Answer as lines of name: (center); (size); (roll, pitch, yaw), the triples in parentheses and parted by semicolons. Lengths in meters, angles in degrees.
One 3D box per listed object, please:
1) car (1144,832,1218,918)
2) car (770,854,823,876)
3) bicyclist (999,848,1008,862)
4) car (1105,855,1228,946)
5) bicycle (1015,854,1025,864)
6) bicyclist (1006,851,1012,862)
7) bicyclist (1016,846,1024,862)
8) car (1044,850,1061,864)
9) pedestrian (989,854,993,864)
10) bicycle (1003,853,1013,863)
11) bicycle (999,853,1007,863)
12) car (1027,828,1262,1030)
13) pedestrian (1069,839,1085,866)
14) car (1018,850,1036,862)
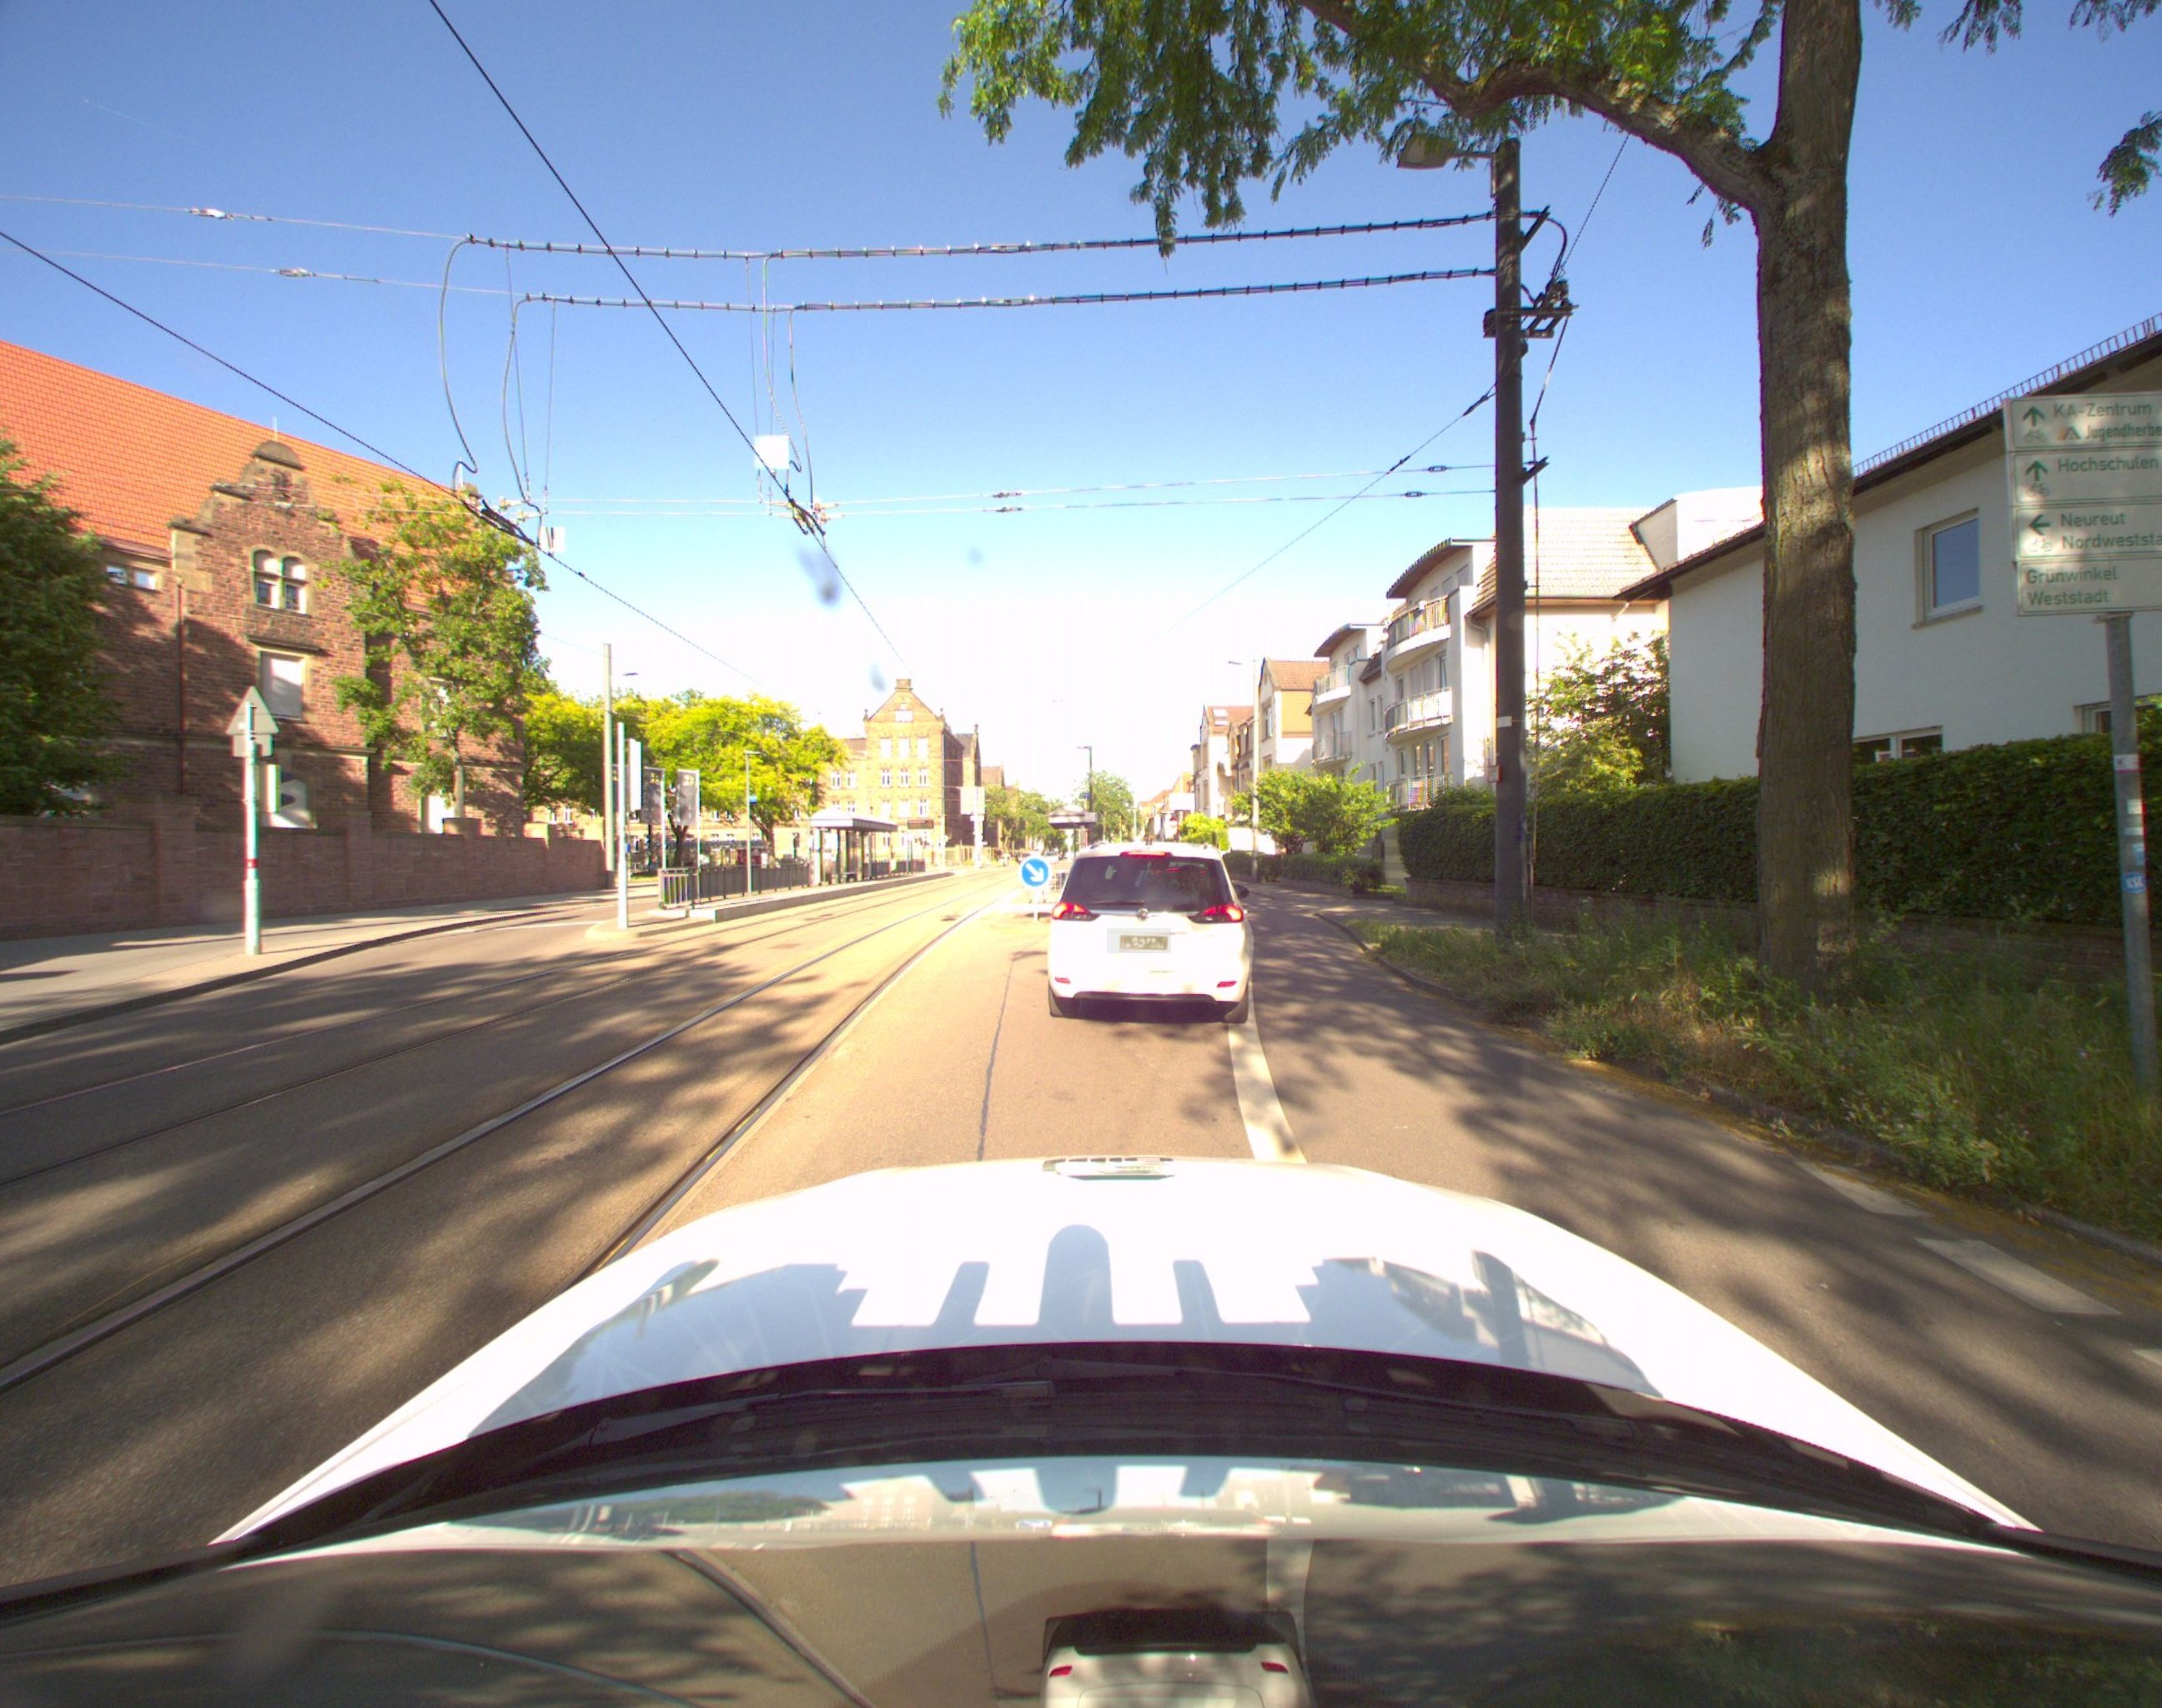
car: (2.719, 0.501, 21.479); (1.698, 2.013, 3.917); (-1, 0, 10)
car: (-25.210, 0.940, 72.180); (3.980, 1.790, 1.997); (-1, 0, -5)
bicyclist: (-9.940, 0.158, 104.361); (0.940, 1.734, 0.861); (-1, 0, -1)
car: (1.729, 0.783, 15.361); (1.981, 1.442, 4.011); (-1, 0, 10)
bicycle: (-8.017, 0.607, 106.897); (1.145, 1.297, 2.859); (-1, 0, -1)
bicyclist: (-9.771, 0.339, 110.521); (0.699, 1.606, 0.657); (-1, 0, 0)
bicyclist: (-7.996, -0.013, 106.895); (0.948, 2.013, 0.822); (-1, 0, -3)
car: (-3.819, 0.413, 108.531); (1.986, 1.913, 4.001); (-1, -1, 1)
pedestrian: (-13.080, 0.777, 118.394); (0.360, 1.437, 0.549); (-1, 0, 2)
bicycle: (-9.939, 0.520, 110.614); (1.145, 1.297, 2.859); (-1, 0, -1)
bicycle: (-9.946, 0.484, 104.072); (0.819, 1.297, 2.676); (-1, 0, -1)
car: (0.796, 0.674, 8.720); (1.882, 1.611, 4.238); (-1, -2, 8)
pedestrian: (-0.329, -0.103, 62.439); (1.153, 2.013, 1.118); (0, 1, -4)
car: (-7.595, 0.279, 115.134); (1.984, 1.722, 4.005); (-1, 0, 5)
